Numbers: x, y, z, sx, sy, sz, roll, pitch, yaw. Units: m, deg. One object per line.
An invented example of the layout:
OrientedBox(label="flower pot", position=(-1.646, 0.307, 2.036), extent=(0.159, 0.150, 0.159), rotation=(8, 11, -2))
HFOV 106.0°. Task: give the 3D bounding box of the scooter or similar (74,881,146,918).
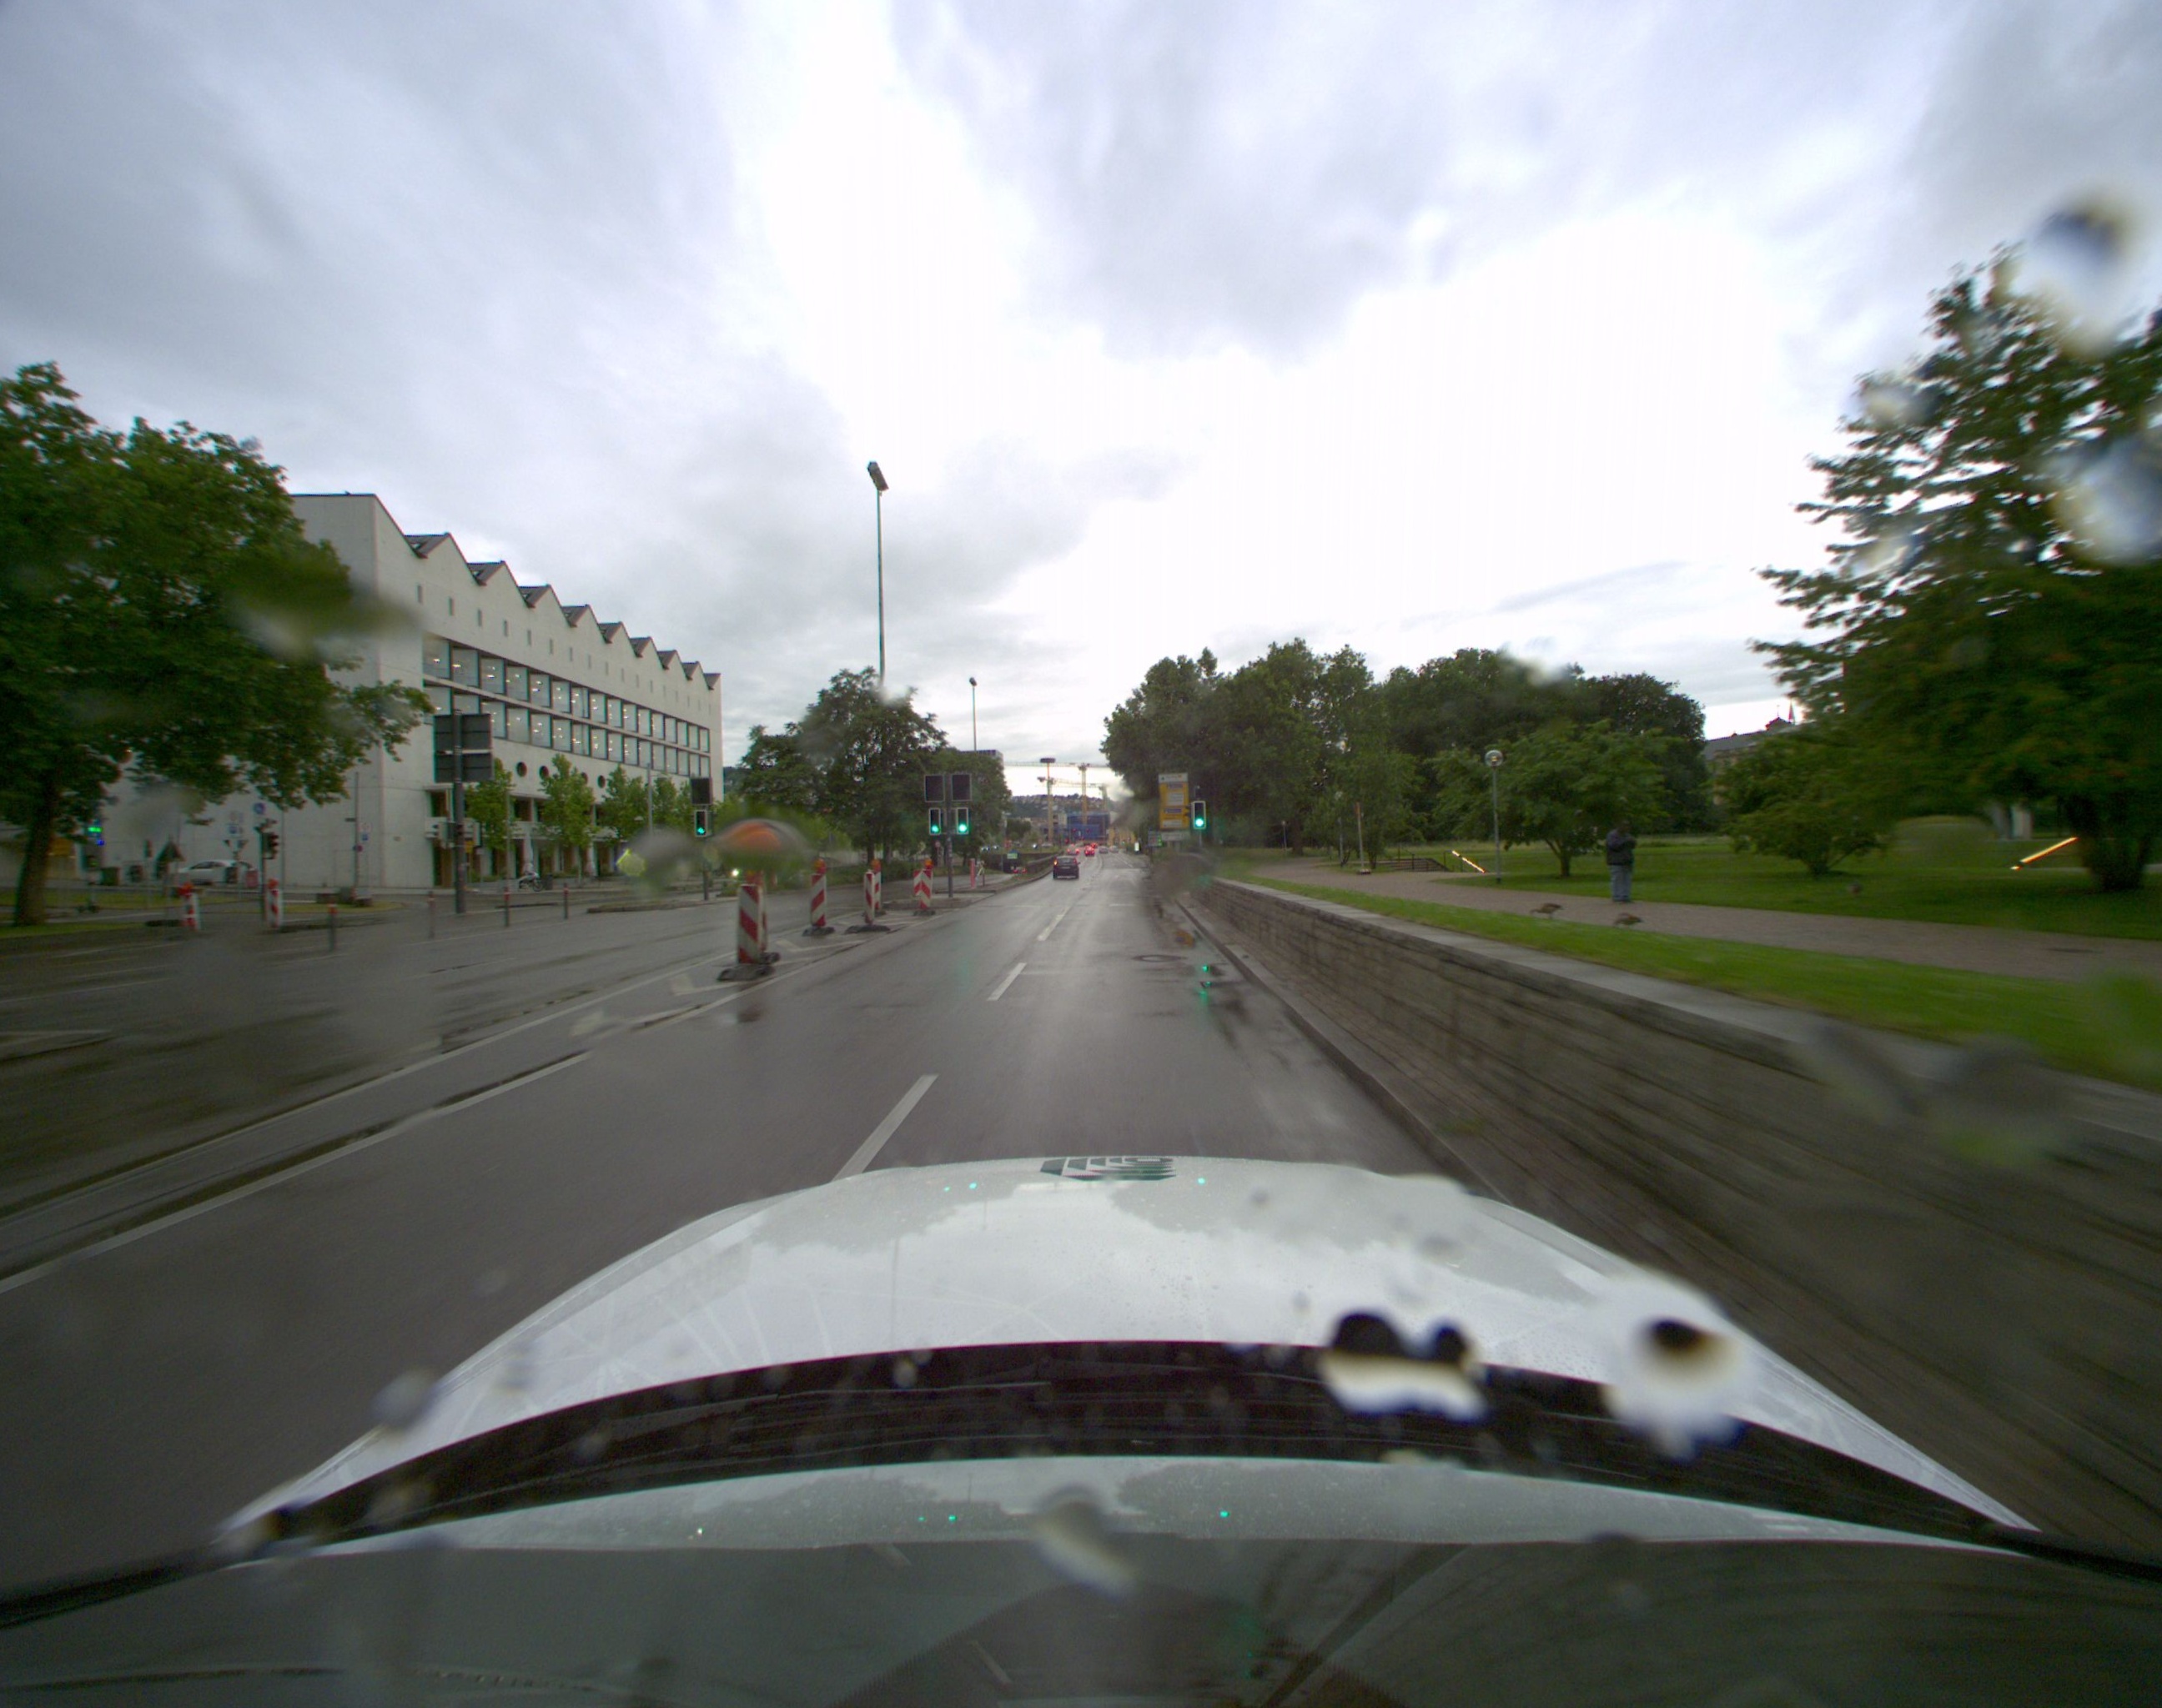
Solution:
OrientedBox(label="scooter or similar", position=(-38.846, 1.808, 32.613), extent=(0.706, 1.351, 1.683), rotation=(-4, -1, 21))

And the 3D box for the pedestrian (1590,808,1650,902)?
OrientedBox(label="pedestrian", position=(10.524, 0.013, 15.921), extent=(0.593, 1.755, 0.725), rotation=(-3, 1, -2))

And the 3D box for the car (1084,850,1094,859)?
OrientedBox(label="car", position=(1.692, 0.126, 169.467), extent=(1.732, 1.771, 4.002), rotation=(-3, -1, 2))

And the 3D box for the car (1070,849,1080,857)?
OrientedBox(label="car", position=(-1.378, -0.215, 196.950), extent=(1.985, 1.782, 4.003), rotation=(-3, -1, 3))

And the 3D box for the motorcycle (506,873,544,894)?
OrientedBox(label="motorcycle", position=(-33.515, 1.795, 49.093), extent=(1.844, 1.154, 0.423), rotation=(-2, 0, -28))

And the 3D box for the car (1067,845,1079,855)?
OrientedBox(label="car", position=(-1.686, -0.926, 179.756), extent=(2.211, 2.013, 4.003), rotation=(-5, -1, 3))

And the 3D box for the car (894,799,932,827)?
OrientedBox(label="car", position=(-11.174, -2.717, 54.451), extent=(1.990, 1.632, 3.993), rotation=(-1, 0, -5))

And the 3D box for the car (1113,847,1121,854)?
OrientedBox(label="car", position=(9.062, -0.810, 205.321), extent=(1.985, 1.599, 4.003), rotation=(-3, -1, 3))

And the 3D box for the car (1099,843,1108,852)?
OrientedBox(label="car", position=(5.458, -1.570, 197.091), extent=(1.981, 2.014, 4.000), rotation=(-3, -1, 1))

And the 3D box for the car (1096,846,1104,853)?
OrientedBox(label="car", position=(4.774, -1.042, 203.147), extent=(1.706, 1.690, 3.852), rotation=(-3, -1, 3))

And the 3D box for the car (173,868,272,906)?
OrientedBox(label="car", position=(-51.806, 1.983, 49.183), extent=(3.968, 2.014, 2.003), rotation=(-3, -1, 5))

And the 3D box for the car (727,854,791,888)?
OrientedBox(label="car", position=(-19.347, 1.020, 49.175), extent=(1.988, 1.840, 4.888), rotation=(-3, -1, -2))

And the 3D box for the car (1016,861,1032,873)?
OrientedBox(label="car", position=(-8.955, 2.048, 127.731), extent=(1.986, 1.781, 4.001), rotation=(-2, 0, 1))

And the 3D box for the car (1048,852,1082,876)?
OrientedBox(label="car", position=(-1.077, 0.650, 53.236), extent=(1.842, 1.416, 3.830), rotation=(-3, -1, -6))

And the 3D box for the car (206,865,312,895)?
OrientedBox(label="car", position=(-47.792, 1.502, 47.431), extent=(3.977, 1.596, 1.998), rotation=(-2, 0, -3))

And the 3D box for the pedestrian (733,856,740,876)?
OrientedBox(label="pedestrian", position=(-34.815, 1.184, 82.323), extent=(0.543, 2.014, 0.525), rotation=(-2, -1, -35))
